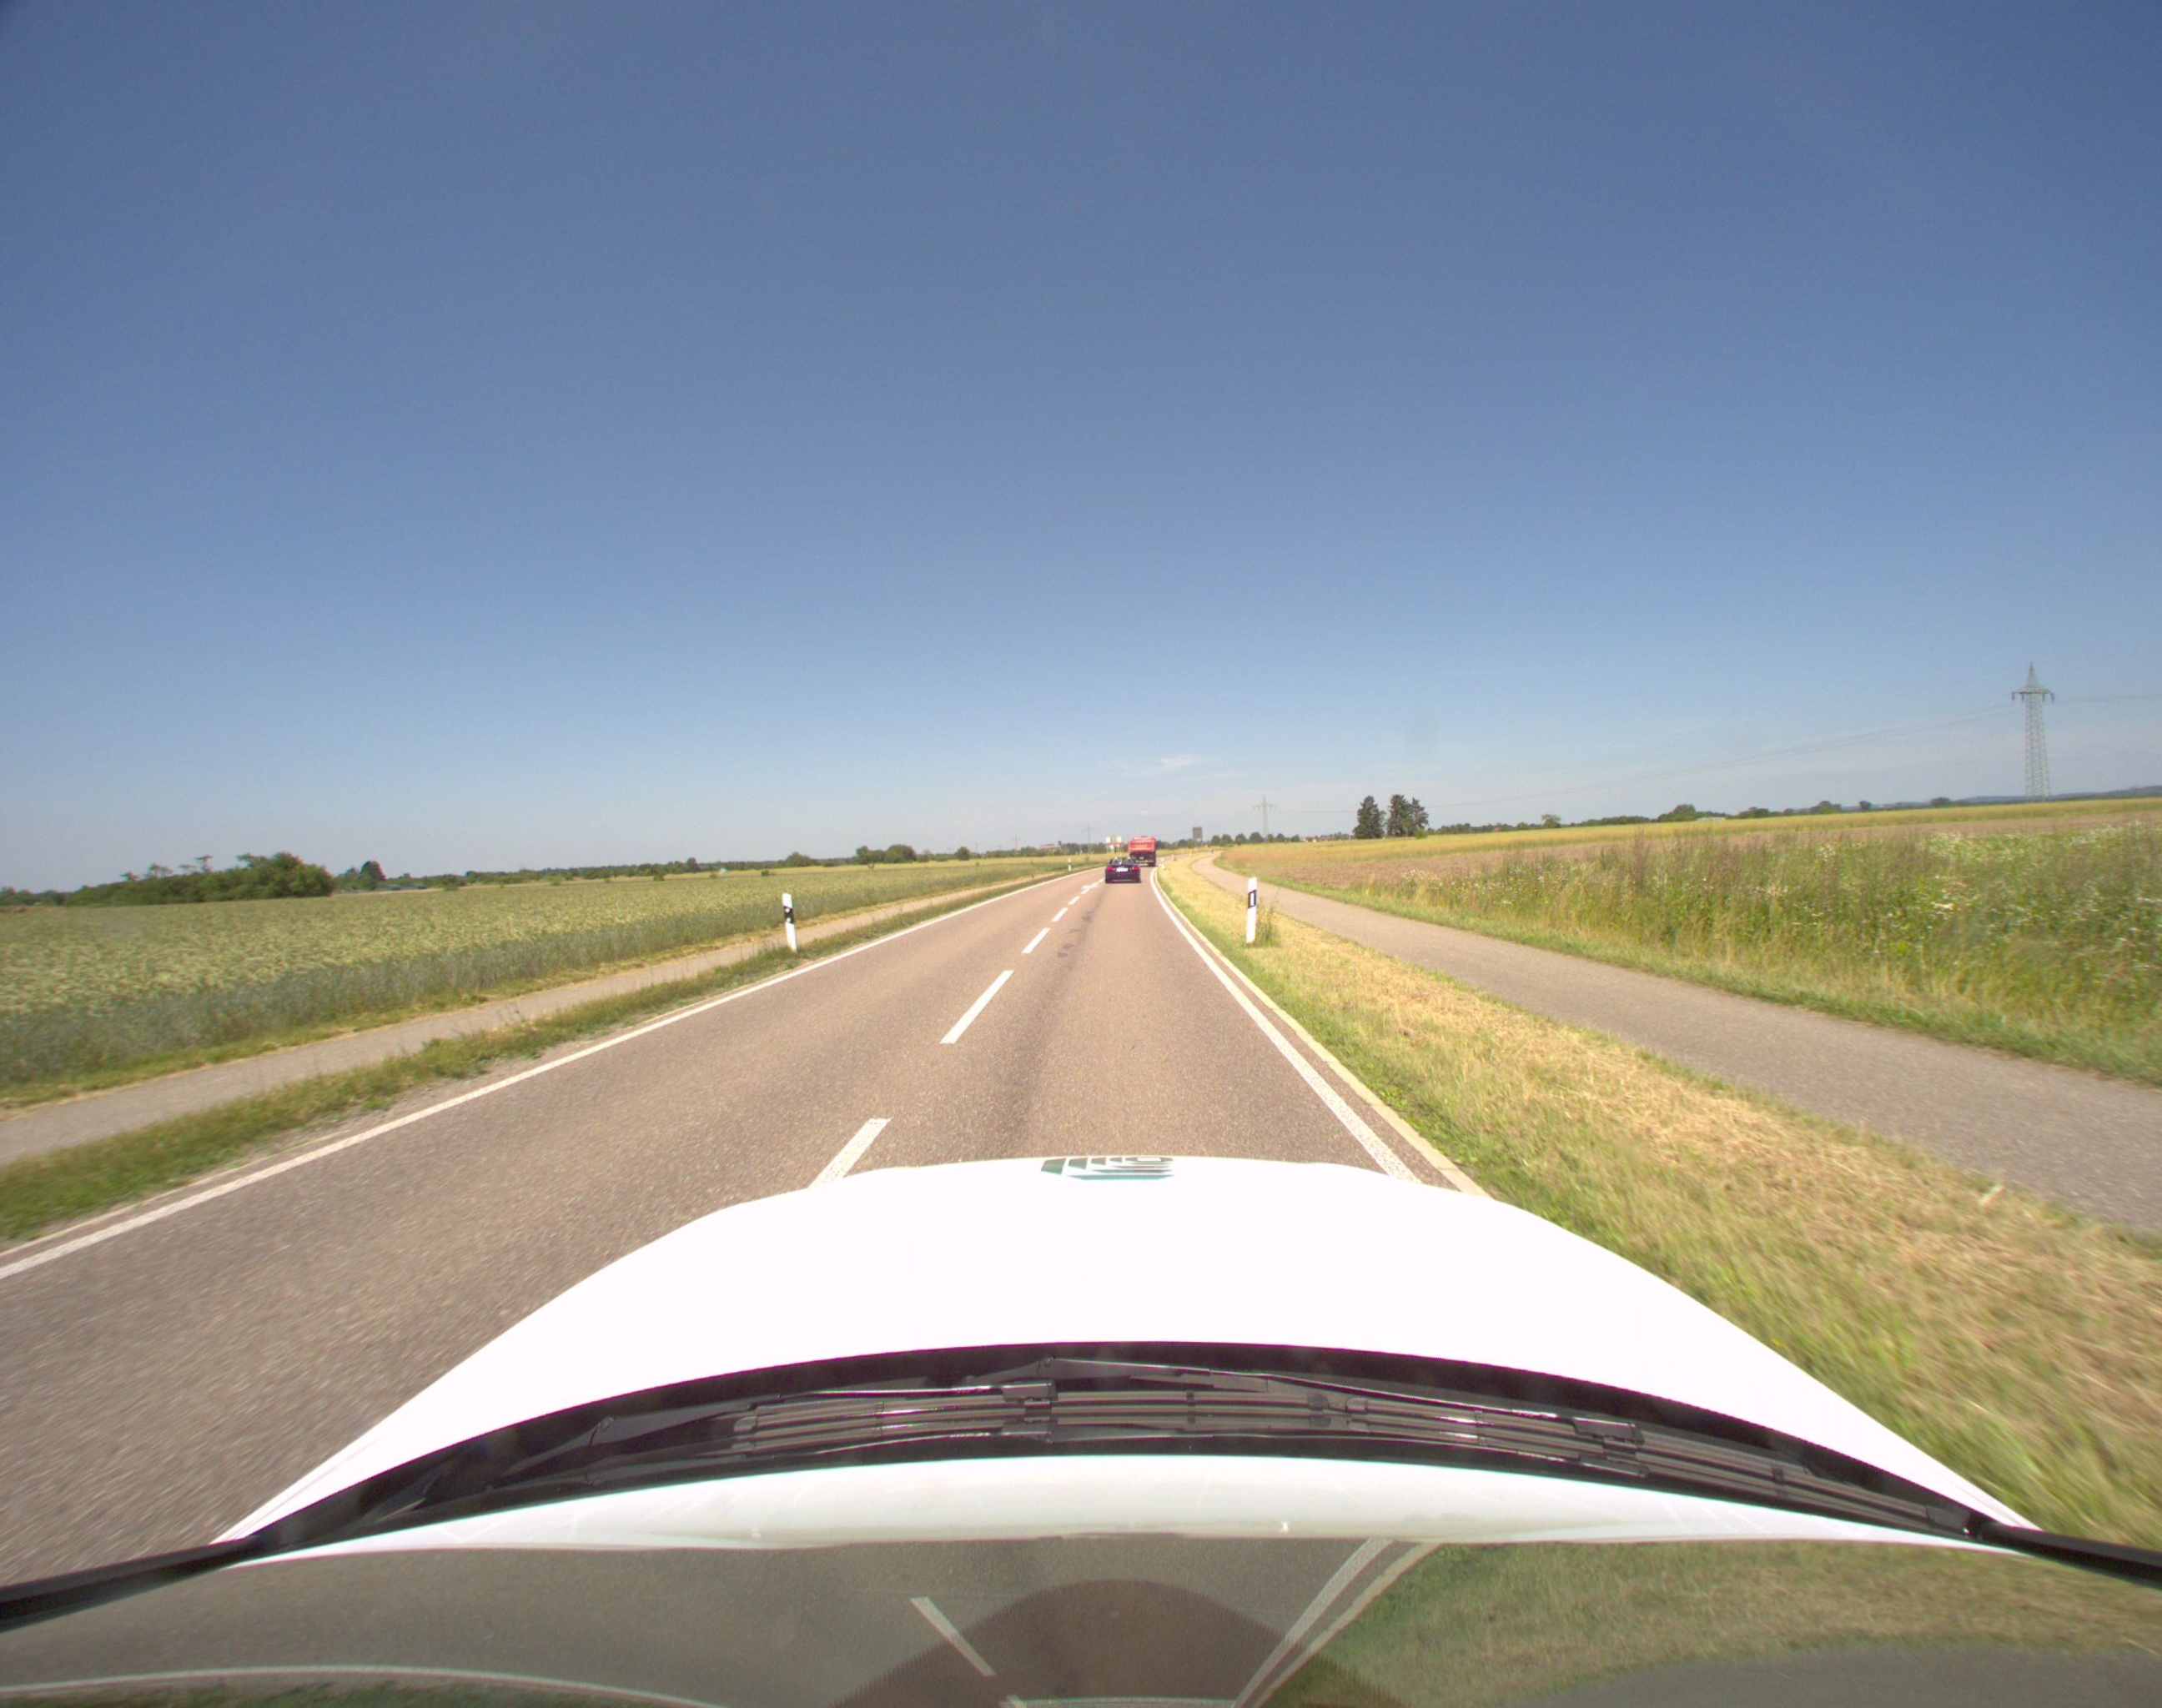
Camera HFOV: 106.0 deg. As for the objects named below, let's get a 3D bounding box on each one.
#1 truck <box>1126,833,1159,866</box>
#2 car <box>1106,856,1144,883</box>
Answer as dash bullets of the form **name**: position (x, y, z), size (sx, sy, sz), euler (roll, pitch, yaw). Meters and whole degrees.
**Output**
- **truck**: position (6.270, -0.395, 82.268), size (2.923, 3.089, 7.209), euler (-2, -1, 6)
- **car**: position (2.295, 0.745, 41.491), size (1.735, 1.280, 4.006), euler (-1, 0, 6)
